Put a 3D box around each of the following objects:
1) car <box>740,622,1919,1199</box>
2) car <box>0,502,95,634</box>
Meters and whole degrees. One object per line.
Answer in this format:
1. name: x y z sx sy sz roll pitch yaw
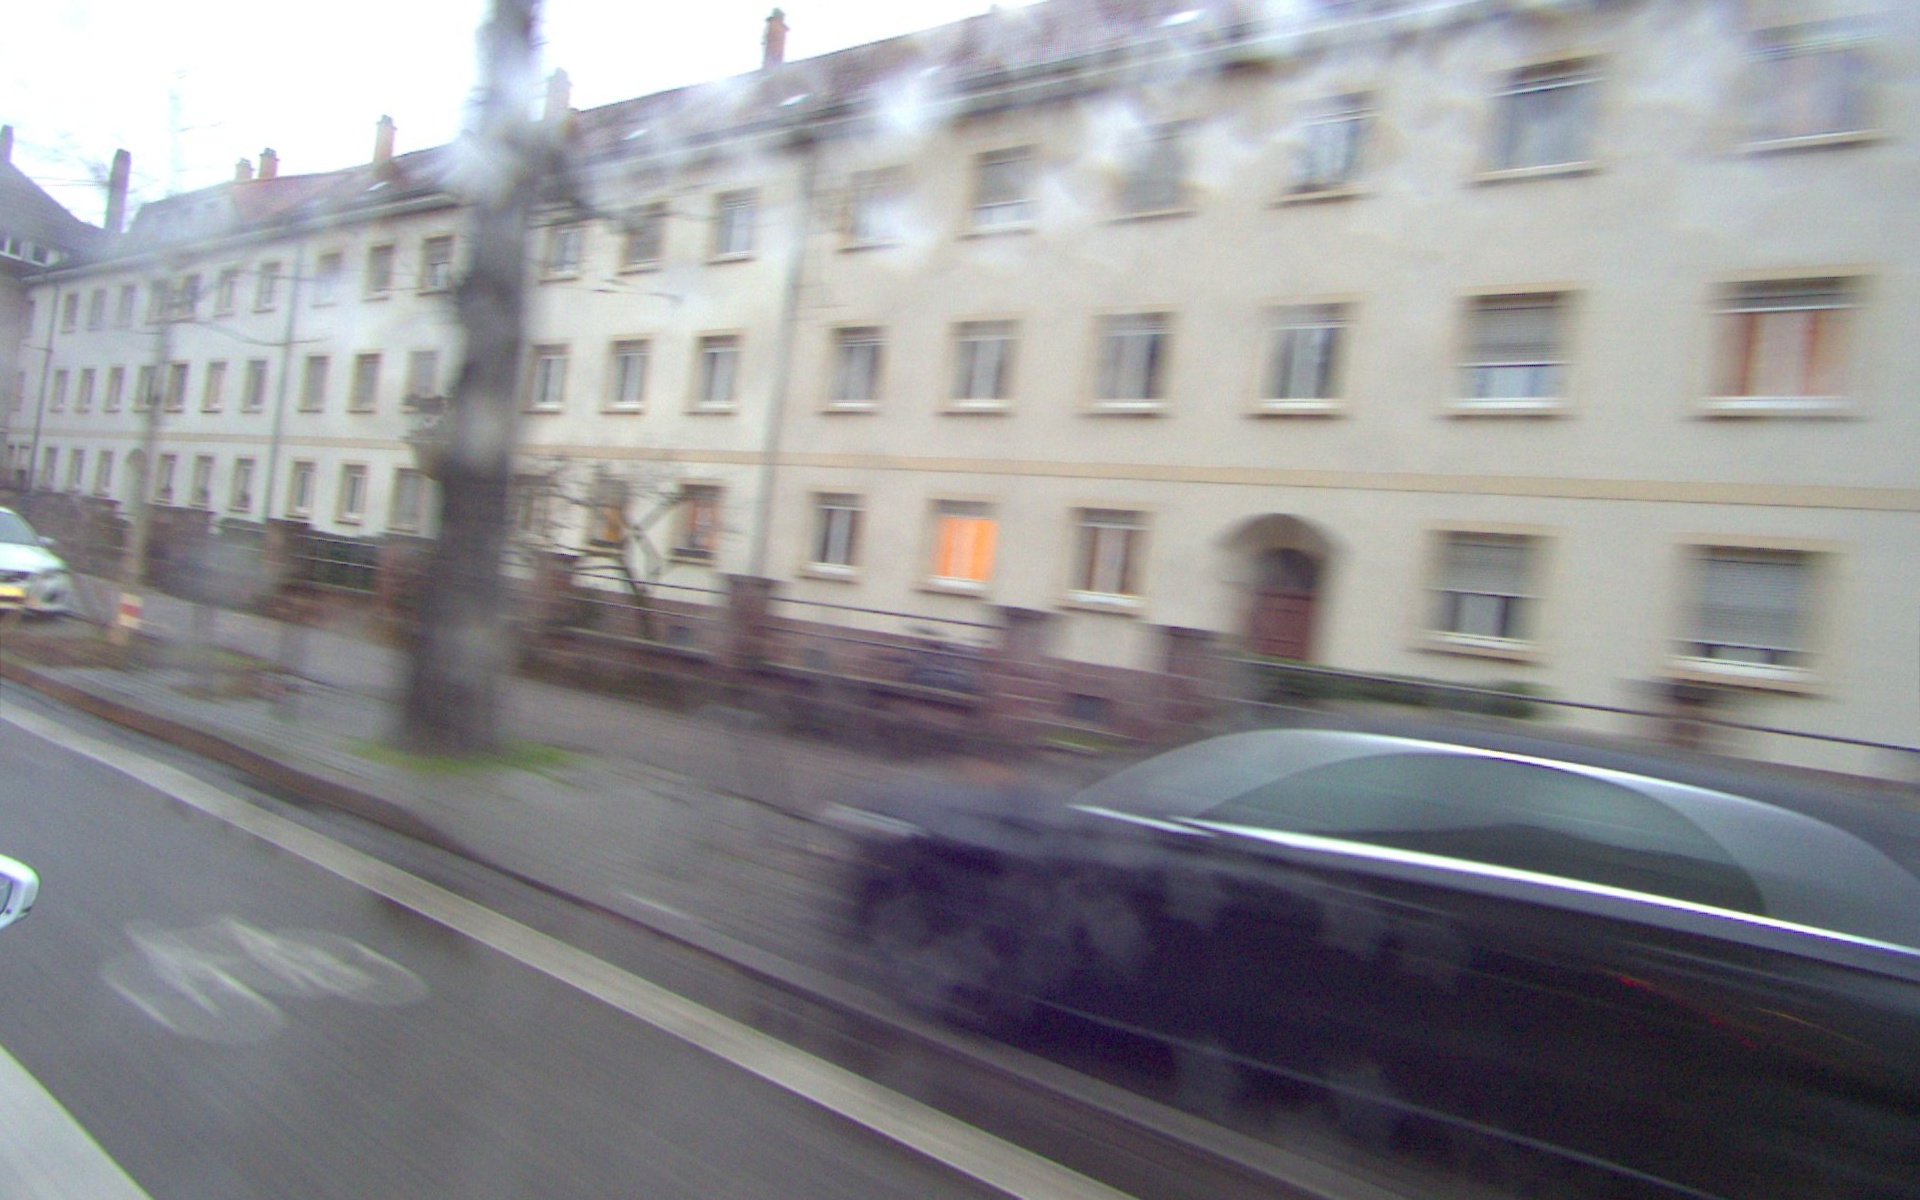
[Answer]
1. car: 1.486 1.093 4.001 4.267 1.437 1.883 7 0 27
2. car: -13.366 -0.600 13.285 4.041 1.528 1.787 7 0 33
